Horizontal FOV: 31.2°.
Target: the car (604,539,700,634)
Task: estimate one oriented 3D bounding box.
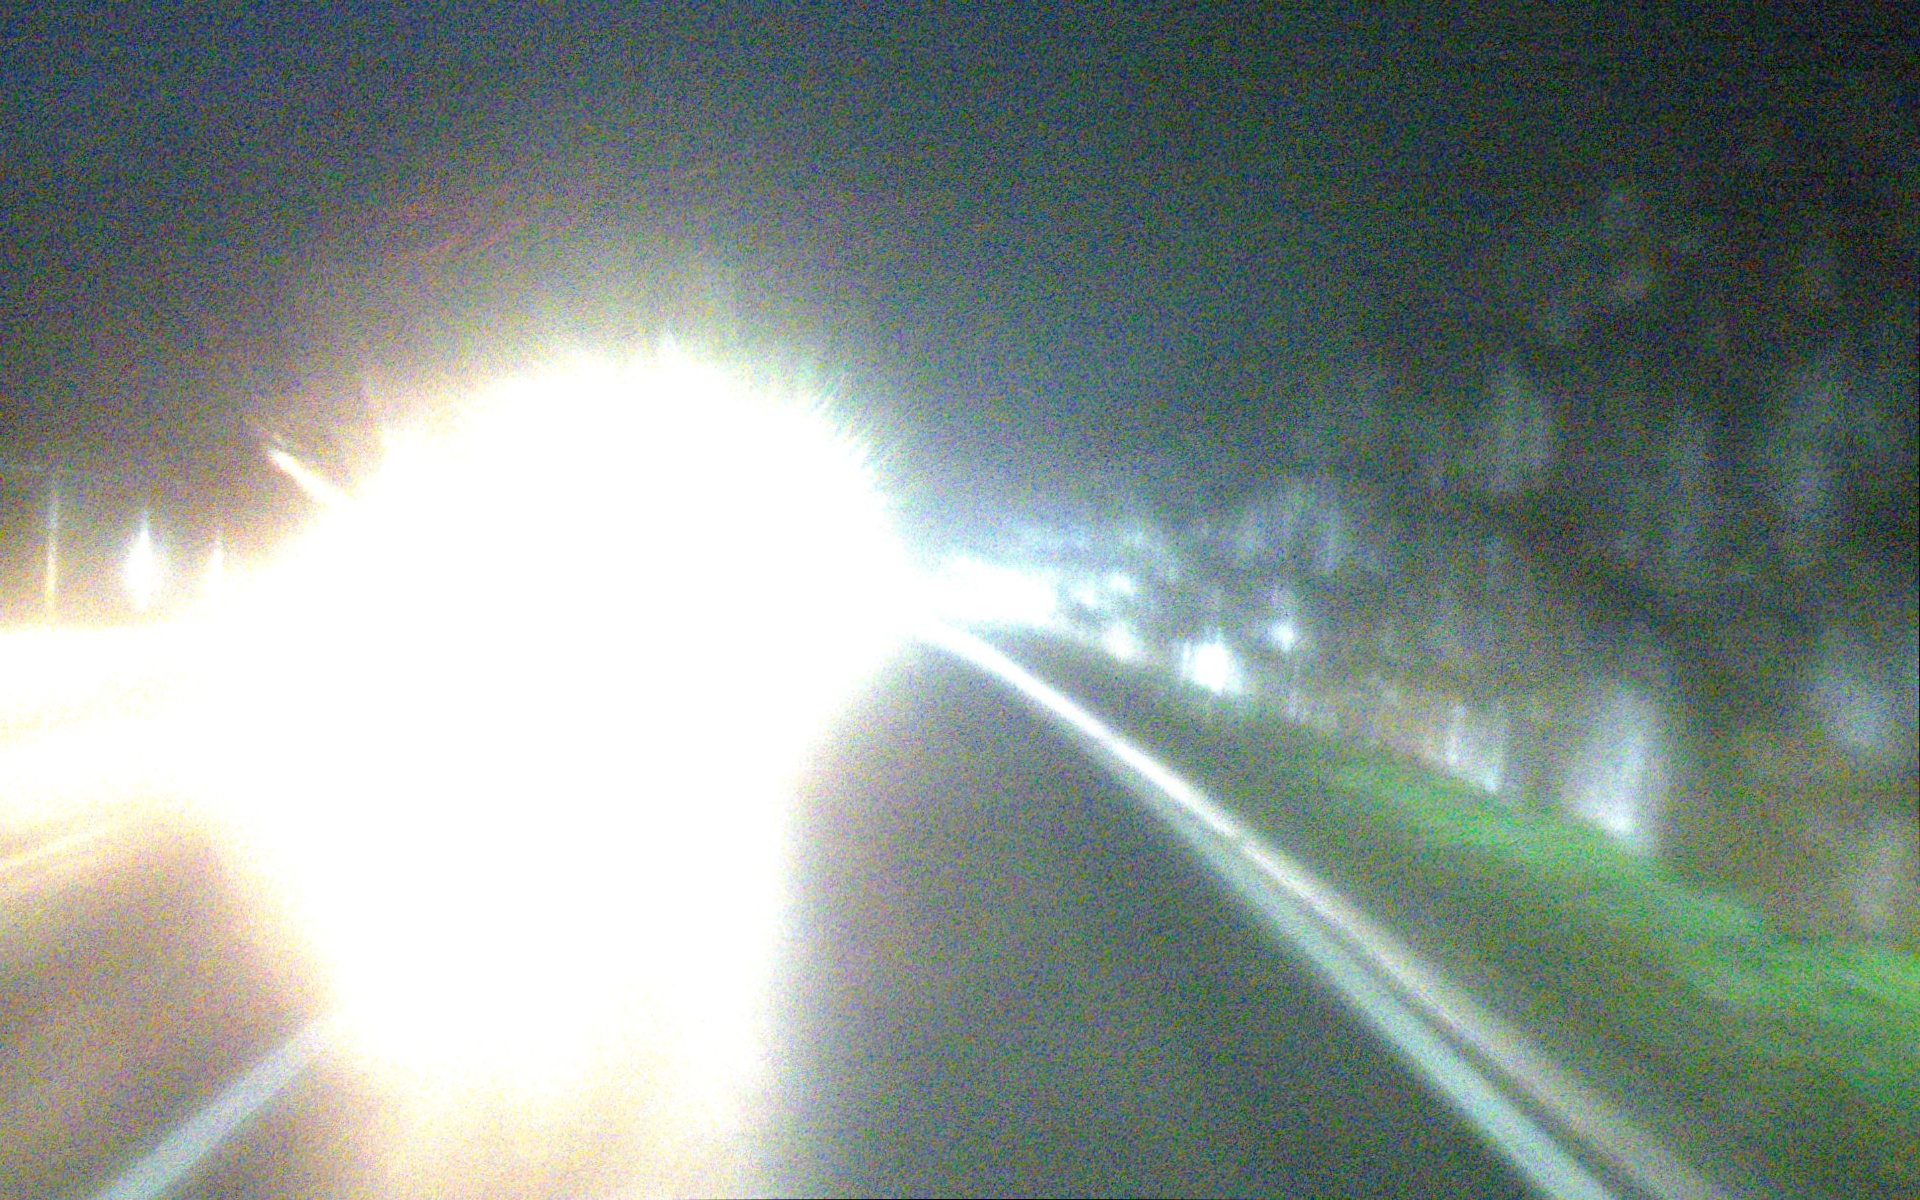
[{"bbox_3d":[-6.119,-0.299,68.654,1.742,1.817,3.878,1,1,-3],"label":"car"}]

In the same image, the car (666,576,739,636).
[{"bbox_3d":[-7.148,0.140,95.693,1.885,1.570,4.050,1,1,-3],"label":"car"}]

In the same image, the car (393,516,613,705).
[{"bbox_3d":[-4.478,0.069,34.167,1.742,1.754,3.878,1,1,-1],"label":"car"}]
